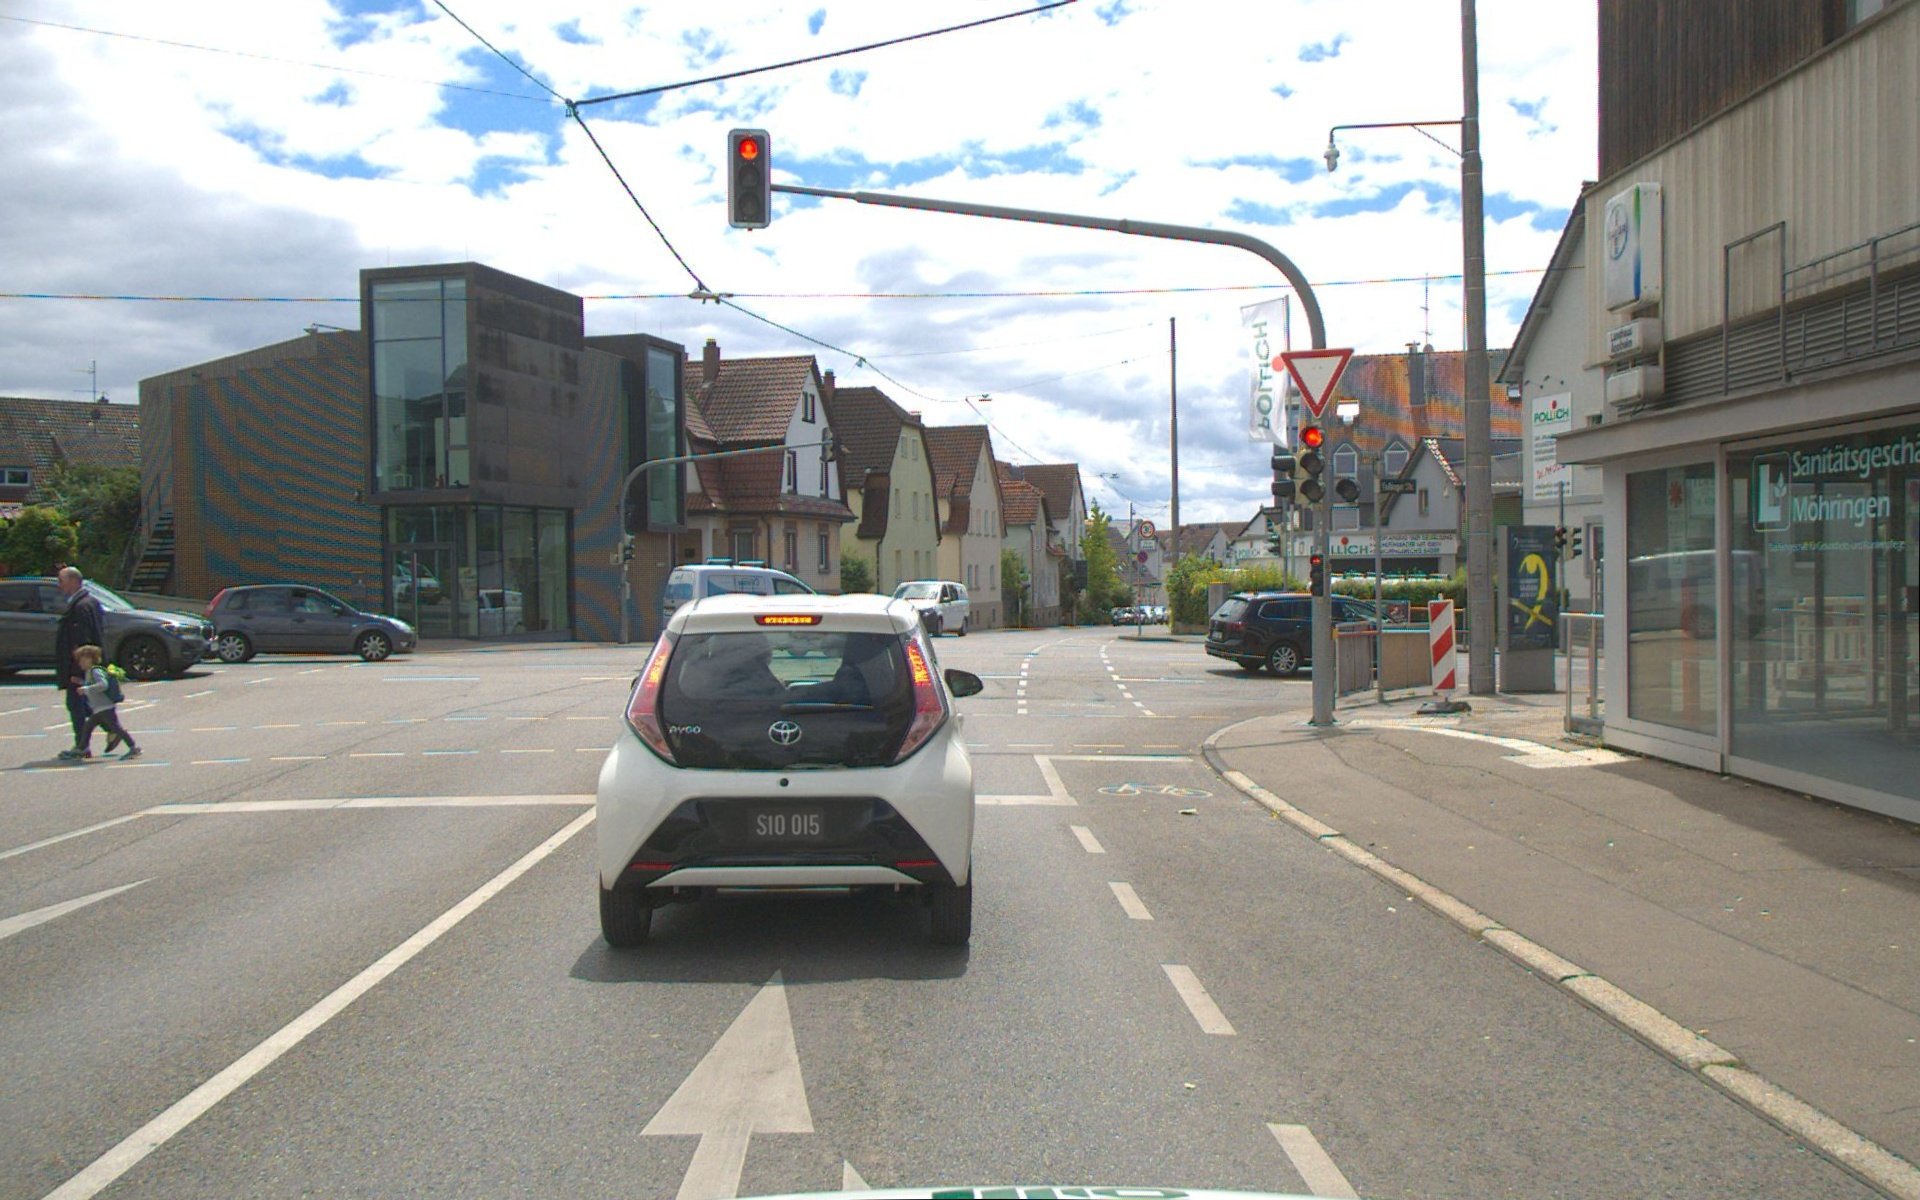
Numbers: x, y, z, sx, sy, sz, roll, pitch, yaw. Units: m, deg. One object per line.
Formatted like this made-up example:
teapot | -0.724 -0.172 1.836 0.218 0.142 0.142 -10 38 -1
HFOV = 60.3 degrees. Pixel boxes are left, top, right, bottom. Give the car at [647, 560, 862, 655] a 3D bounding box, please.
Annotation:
car | -4.281 0.155 34.593 4.027 1.881 1.975 1 0 -36

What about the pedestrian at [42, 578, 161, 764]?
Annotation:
pedestrian | -8.297 0.663 16.021 0.807 1.751 0.815 0 0 -11

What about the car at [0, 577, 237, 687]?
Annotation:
car | -14.243 0.493 26.870 4.216 1.705 1.994 0 0 -12

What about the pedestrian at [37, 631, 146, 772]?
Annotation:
pedestrian | -8.028 0.924 15.314 0.720 1.243 0.644 0 0 -11

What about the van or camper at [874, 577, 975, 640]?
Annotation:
van or camper | -1.130 0.269 55.709 2.070 1.959 5.289 1 0 14

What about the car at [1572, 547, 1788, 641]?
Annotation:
car | 15.061 -0.143 34.639 3.914 1.870 1.995 1 0 31

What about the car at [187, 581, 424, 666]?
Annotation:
car | -12.338 0.429 31.437 3.920 1.512 1.993 1 0 -14

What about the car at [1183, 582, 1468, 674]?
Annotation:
car | 6.747 0.505 30.764 4.806 1.605 1.996 1 0 -9

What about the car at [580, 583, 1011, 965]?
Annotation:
car | -0.716 0.681 8.134 1.663 1.482 3.297 1 0 -3
